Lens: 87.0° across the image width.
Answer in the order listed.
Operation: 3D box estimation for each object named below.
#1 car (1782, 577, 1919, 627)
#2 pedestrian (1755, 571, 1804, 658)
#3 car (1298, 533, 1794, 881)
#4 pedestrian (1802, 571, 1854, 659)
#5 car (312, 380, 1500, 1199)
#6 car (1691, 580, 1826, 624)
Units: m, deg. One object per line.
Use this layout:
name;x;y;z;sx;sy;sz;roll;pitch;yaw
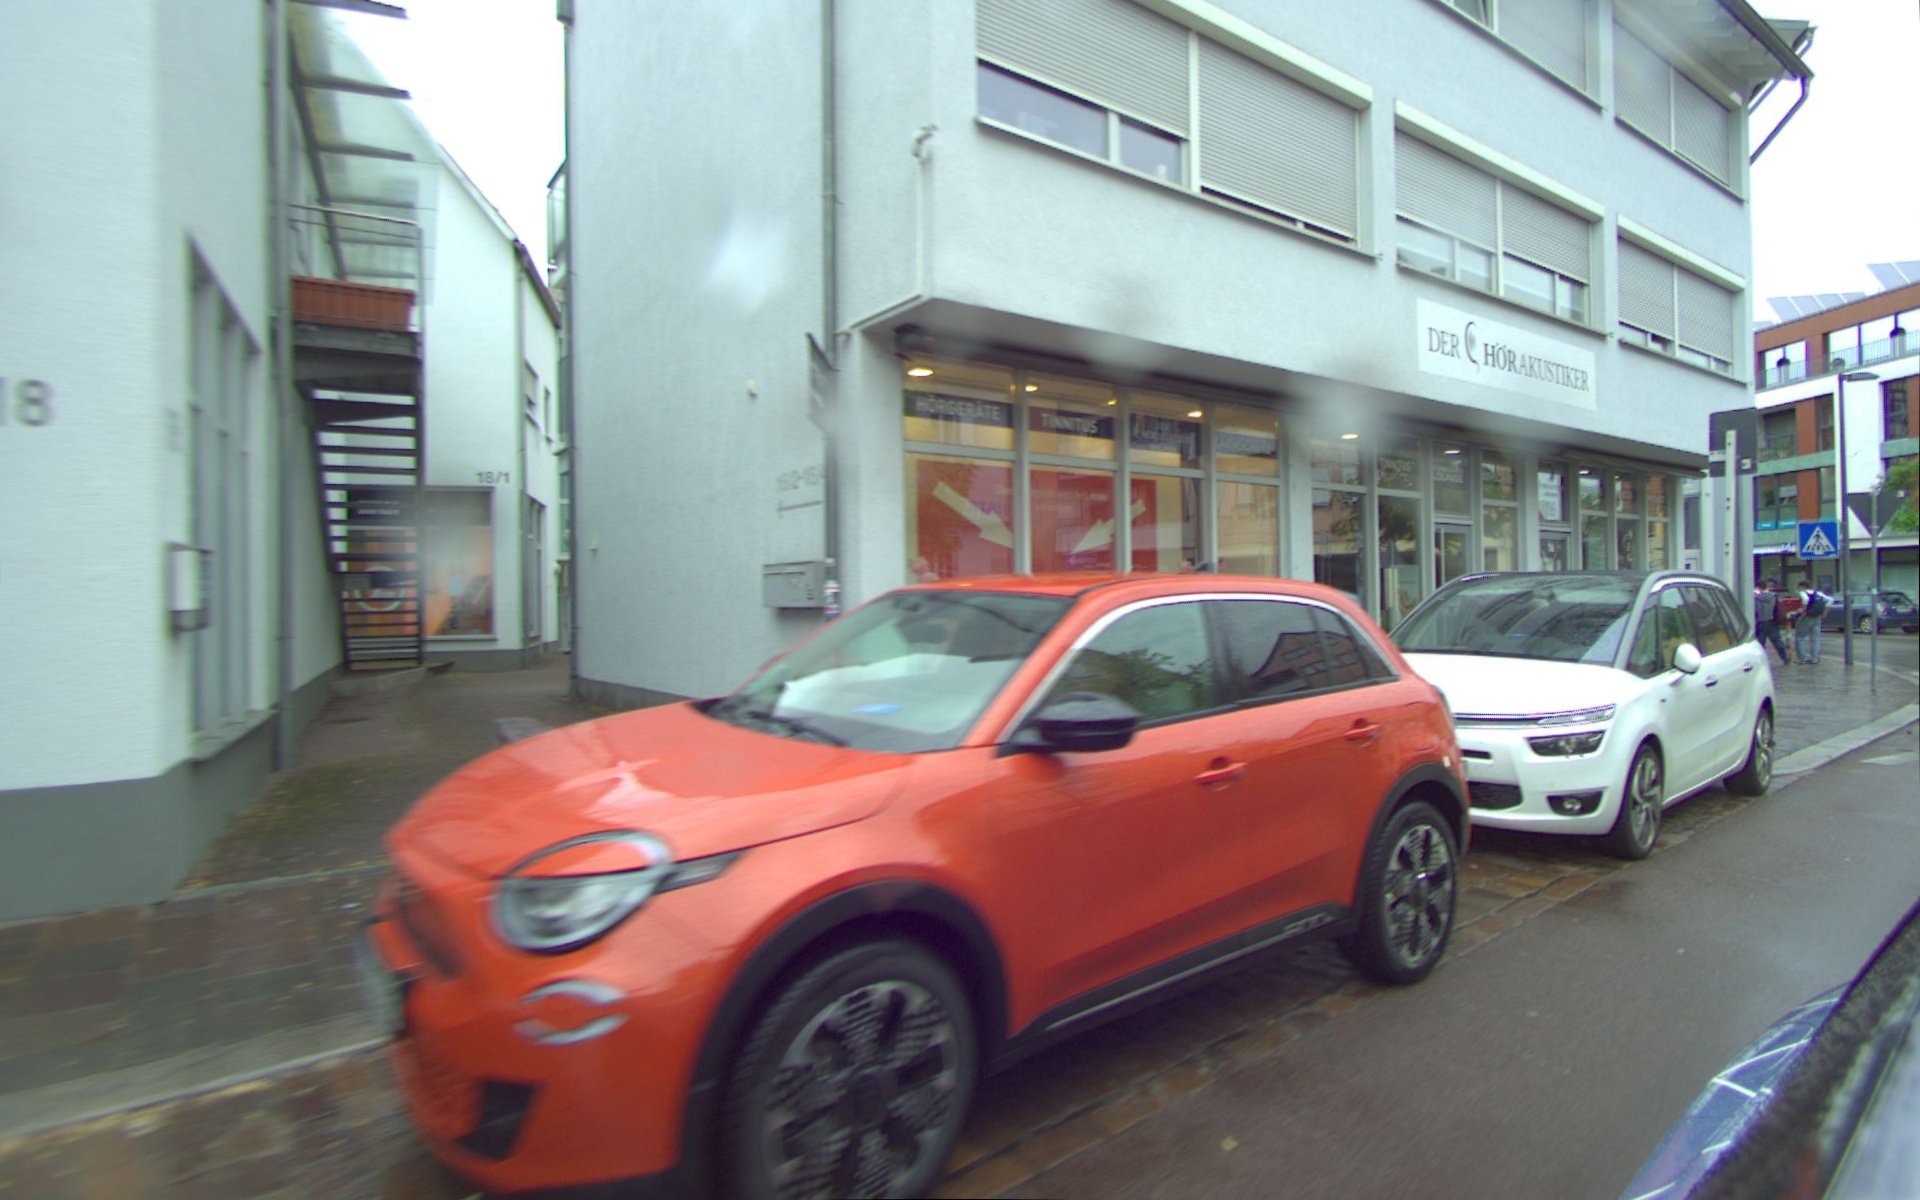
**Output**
car;30.779;0.050;34.626;1.684;1.594;4.006;-1;1;-9
pedestrian;17.566;0.305;21.702;0.692;1.834;0.506;0;0;26
car;4.234;0.497;7.003;4.204;1.711;1.693;-1;0;-41
pedestrian;18.498;0.315;21.584;0.666;1.834;0.675;0;0;26
car;0.122;0.466;3.535;3.886;1.711;1.694;-1;0;-38
car;30.827;0.049;39.218;1.684;1.594;4.006;-1;1;-9
